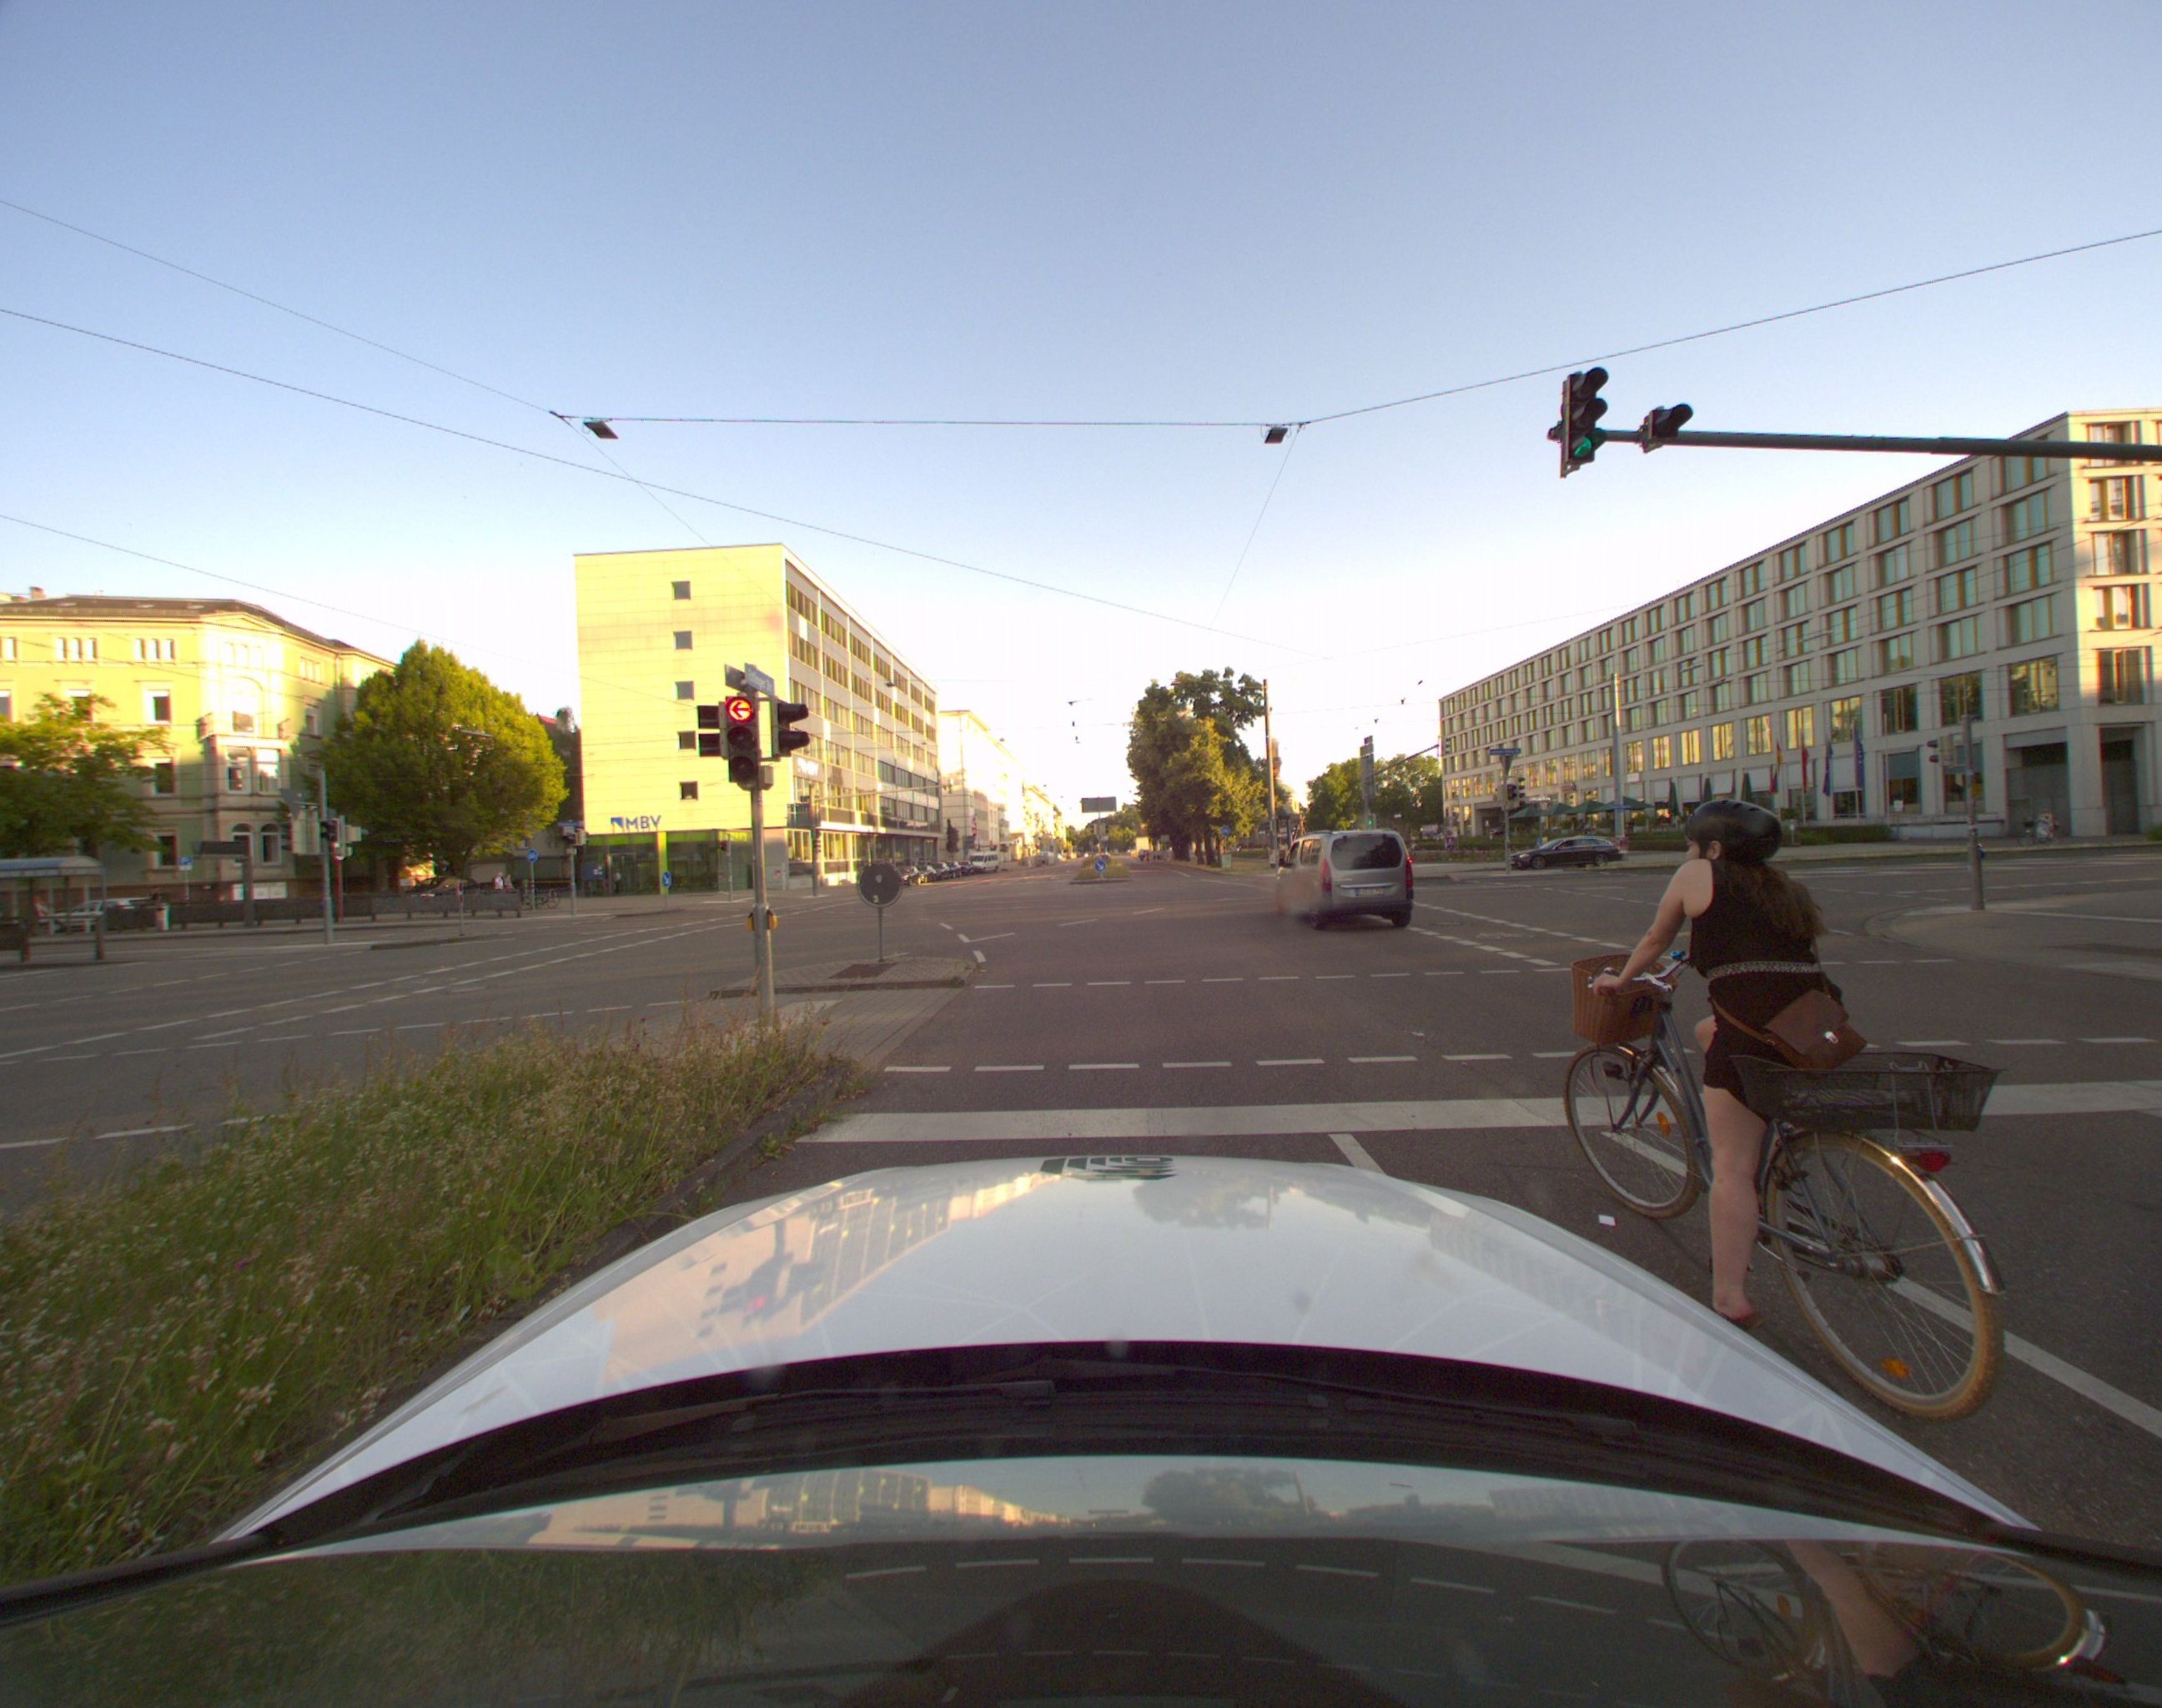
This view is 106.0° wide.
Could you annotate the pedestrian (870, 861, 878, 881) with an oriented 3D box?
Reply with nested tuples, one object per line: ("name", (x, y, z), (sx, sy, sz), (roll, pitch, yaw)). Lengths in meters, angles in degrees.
("pedestrian", (-17.881, 1.432, 70.331), (0.549, 1.679, 0.500), (-3, 0, 1))

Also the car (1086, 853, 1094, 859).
("car", (2.215, 0.451, 201.762), (1.855, 1.519, 4.003), (-3, 0, 3))

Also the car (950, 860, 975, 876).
("car", (-12.388, 1.443, 85.247), (1.913, 1.568, 4.002), (-3, 0, 2))

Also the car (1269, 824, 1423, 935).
("car", (5.248, 0.395, 16.787), (1.756, 1.888, 4.502), (-3, 1, 1))

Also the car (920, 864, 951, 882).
("car", (-13.108, 1.680, 73.722), (1.913, 1.464, 4.002), (-3, 0, 2))

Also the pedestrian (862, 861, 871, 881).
("pedestrian", (-18.318, 1.430, 69.563), (0.549, 1.679, 0.500), (-3, 0, 1))

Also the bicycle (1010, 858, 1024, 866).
("bicycle", (-10.009, 1.304, 127.471), (2.198, 1.112, 0.689), (-3, 0, 0))

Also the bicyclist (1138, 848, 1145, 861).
("bicyclist", (8.005, 0.044, 107.318), (0.744, 1.663, 0.873), (-3, 0, 1))

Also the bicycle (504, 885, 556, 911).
("bicycle", (-26.964, 2.132, 39.886), (0.832, 1.112, 2.216), (-3, 0, 6))

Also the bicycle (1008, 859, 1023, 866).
("bicycle", (-10.087, 1.316, 126.011), (2.198, 1.112, 0.619), (-3, 0, 0))

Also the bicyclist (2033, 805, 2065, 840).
("bicyclist", (43.847, -1.405, 36.878), (0.705, 1.537, 0.577), (-3, 0, -1))

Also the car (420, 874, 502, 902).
("car", (-35.171, 1.918, 46.323), (1.830, 1.372, 3.594), (-3, 0, 0))

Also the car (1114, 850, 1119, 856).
("car", (11.119, -0.250, 253.516), (1.403, 1.641, 4.000), (-3, 0, 1))

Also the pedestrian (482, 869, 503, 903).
("pedestrian", (-31.712, 1.706, 43.889), (0.641, 1.790, 0.720), (-3, 0, -12))

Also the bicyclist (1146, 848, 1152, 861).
("bicyclist", (8.964, 0.028, 107.483), (0.744, 1.691, 0.799), (-3, 0, 1))

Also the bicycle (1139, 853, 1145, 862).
("bicycle", (8.052, 0.426, 107.671), (0.744, 1.144, 2.506), (-3, 0, 2))

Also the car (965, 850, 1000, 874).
("car", (-11.061, 0.863, 91.682), (1.988, 2.478, 5.888), (-3, 0, 12))

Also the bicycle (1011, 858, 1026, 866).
("bicycle", (-9.964, 1.260, 129.332), (2.198, 1.236, 0.839), (-3, 0, 0))

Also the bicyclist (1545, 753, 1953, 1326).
("bicyclist", (2.200, 0.533, 2.836), (0.597, 1.636, 0.999), (-1, 0, 2))

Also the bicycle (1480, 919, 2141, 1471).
("bicycle", (2.205, 0.883, 2.918), (0.609, 1.132, 2.005), (-1, 0, 2))

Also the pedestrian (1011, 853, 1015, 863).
("pedestrian", (-13.820, 0.730, 165.450), (0.677, 2.013, 0.545), (-3, 0, 1))

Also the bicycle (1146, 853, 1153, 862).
("bicycle", (8.991, 0.448, 107.632), (0.744, 1.144, 2.506), (-3, 0, 2))

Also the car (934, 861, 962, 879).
("car", (-12.856, 1.571, 79.024), (1.913, 1.568, 4.002), (-3, 0, 2))

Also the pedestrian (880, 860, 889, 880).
("pedestrian", (-16.815, 1.391, 69.780), (0.549, 1.679, 0.500), (-3, 0, 1))

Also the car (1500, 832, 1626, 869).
("car", (23.125, -0.175, 39.216), (4.803, 1.515, 2.002), (-3, 0, 4))

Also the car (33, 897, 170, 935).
("car", (-45.210, 2.841, 37.678), (3.588, 1.372, 1.833), (-3, 0, -15))

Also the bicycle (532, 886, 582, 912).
("bicycle", (-25.589, 2.167, 39.833), (0.832, 1.112, 2.216), (-3, 0, 6))

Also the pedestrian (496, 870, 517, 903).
("pedestrian", (-31.545, 1.774, 44.688), (0.641, 1.790, 0.720), (-3, 0, -12))

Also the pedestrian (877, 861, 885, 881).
("pedestrian", (-17.287, 1.462, 70.322), (0.498, 1.679, 0.500), (-3, 0, 1))

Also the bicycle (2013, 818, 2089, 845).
("bicycle", (43.915, -1.010, 36.875), (2.762, 1.106, 0.602), (-3, 0, -1))

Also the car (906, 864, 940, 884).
("car", (-13.316, 1.643, 68.909), (1.913, 1.464, 4.002), (-3, 0, 2))

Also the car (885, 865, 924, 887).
("car", (-13.511, 1.657, 62.413), (1.913, 1.464, 4.105), (-3, 0, 2))
